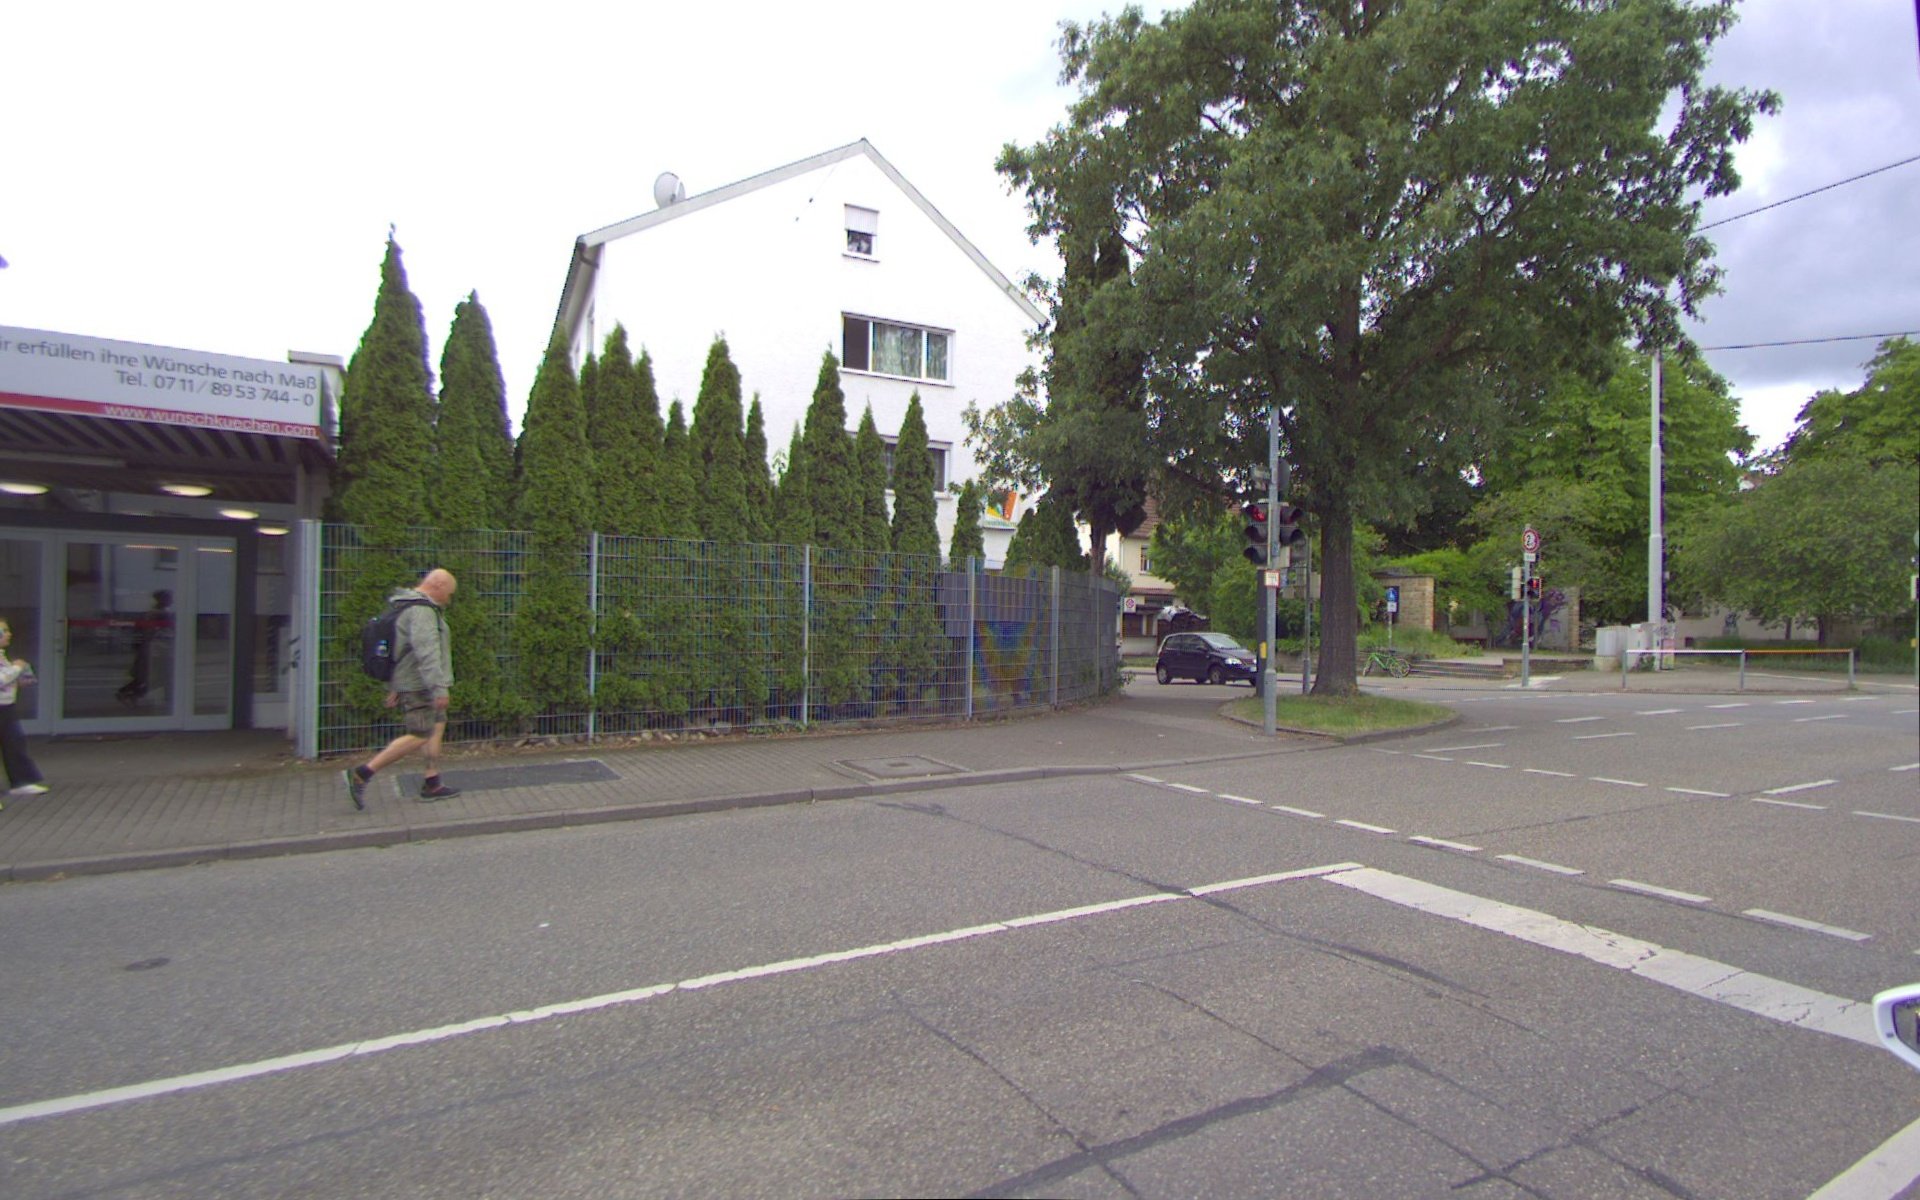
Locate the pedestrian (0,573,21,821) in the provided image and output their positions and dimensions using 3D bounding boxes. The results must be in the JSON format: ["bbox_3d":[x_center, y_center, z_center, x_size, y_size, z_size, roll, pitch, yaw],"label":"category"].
[{"bbox_3d":[-6.794,0.624,6.596,0.860,1.627,0.634,1,1,-41],"label":"pedestrian"}]

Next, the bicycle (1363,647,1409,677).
[{"bbox_3d":[13.910,2.022,32.824,0.421,0.954,1.304,2,-4,-38],"label":"bicycle"}]

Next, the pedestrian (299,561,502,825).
[{"bbox_3d":[-4.116,0.636,7.435,1.215,1.777,0.817,2,0,-31],"label":"pedestrian"}]

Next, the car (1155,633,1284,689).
[{"bbox_3d":[7.409,1.719,28.994,1.747,1.417,3.625,2,-1,-23],"label":"car"}]

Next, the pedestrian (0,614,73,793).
[{"bbox_3d":[-6.967,0.753,7.460,0.546,1.278,0.378,1,1,-42],"label":"pedestrian"}]
